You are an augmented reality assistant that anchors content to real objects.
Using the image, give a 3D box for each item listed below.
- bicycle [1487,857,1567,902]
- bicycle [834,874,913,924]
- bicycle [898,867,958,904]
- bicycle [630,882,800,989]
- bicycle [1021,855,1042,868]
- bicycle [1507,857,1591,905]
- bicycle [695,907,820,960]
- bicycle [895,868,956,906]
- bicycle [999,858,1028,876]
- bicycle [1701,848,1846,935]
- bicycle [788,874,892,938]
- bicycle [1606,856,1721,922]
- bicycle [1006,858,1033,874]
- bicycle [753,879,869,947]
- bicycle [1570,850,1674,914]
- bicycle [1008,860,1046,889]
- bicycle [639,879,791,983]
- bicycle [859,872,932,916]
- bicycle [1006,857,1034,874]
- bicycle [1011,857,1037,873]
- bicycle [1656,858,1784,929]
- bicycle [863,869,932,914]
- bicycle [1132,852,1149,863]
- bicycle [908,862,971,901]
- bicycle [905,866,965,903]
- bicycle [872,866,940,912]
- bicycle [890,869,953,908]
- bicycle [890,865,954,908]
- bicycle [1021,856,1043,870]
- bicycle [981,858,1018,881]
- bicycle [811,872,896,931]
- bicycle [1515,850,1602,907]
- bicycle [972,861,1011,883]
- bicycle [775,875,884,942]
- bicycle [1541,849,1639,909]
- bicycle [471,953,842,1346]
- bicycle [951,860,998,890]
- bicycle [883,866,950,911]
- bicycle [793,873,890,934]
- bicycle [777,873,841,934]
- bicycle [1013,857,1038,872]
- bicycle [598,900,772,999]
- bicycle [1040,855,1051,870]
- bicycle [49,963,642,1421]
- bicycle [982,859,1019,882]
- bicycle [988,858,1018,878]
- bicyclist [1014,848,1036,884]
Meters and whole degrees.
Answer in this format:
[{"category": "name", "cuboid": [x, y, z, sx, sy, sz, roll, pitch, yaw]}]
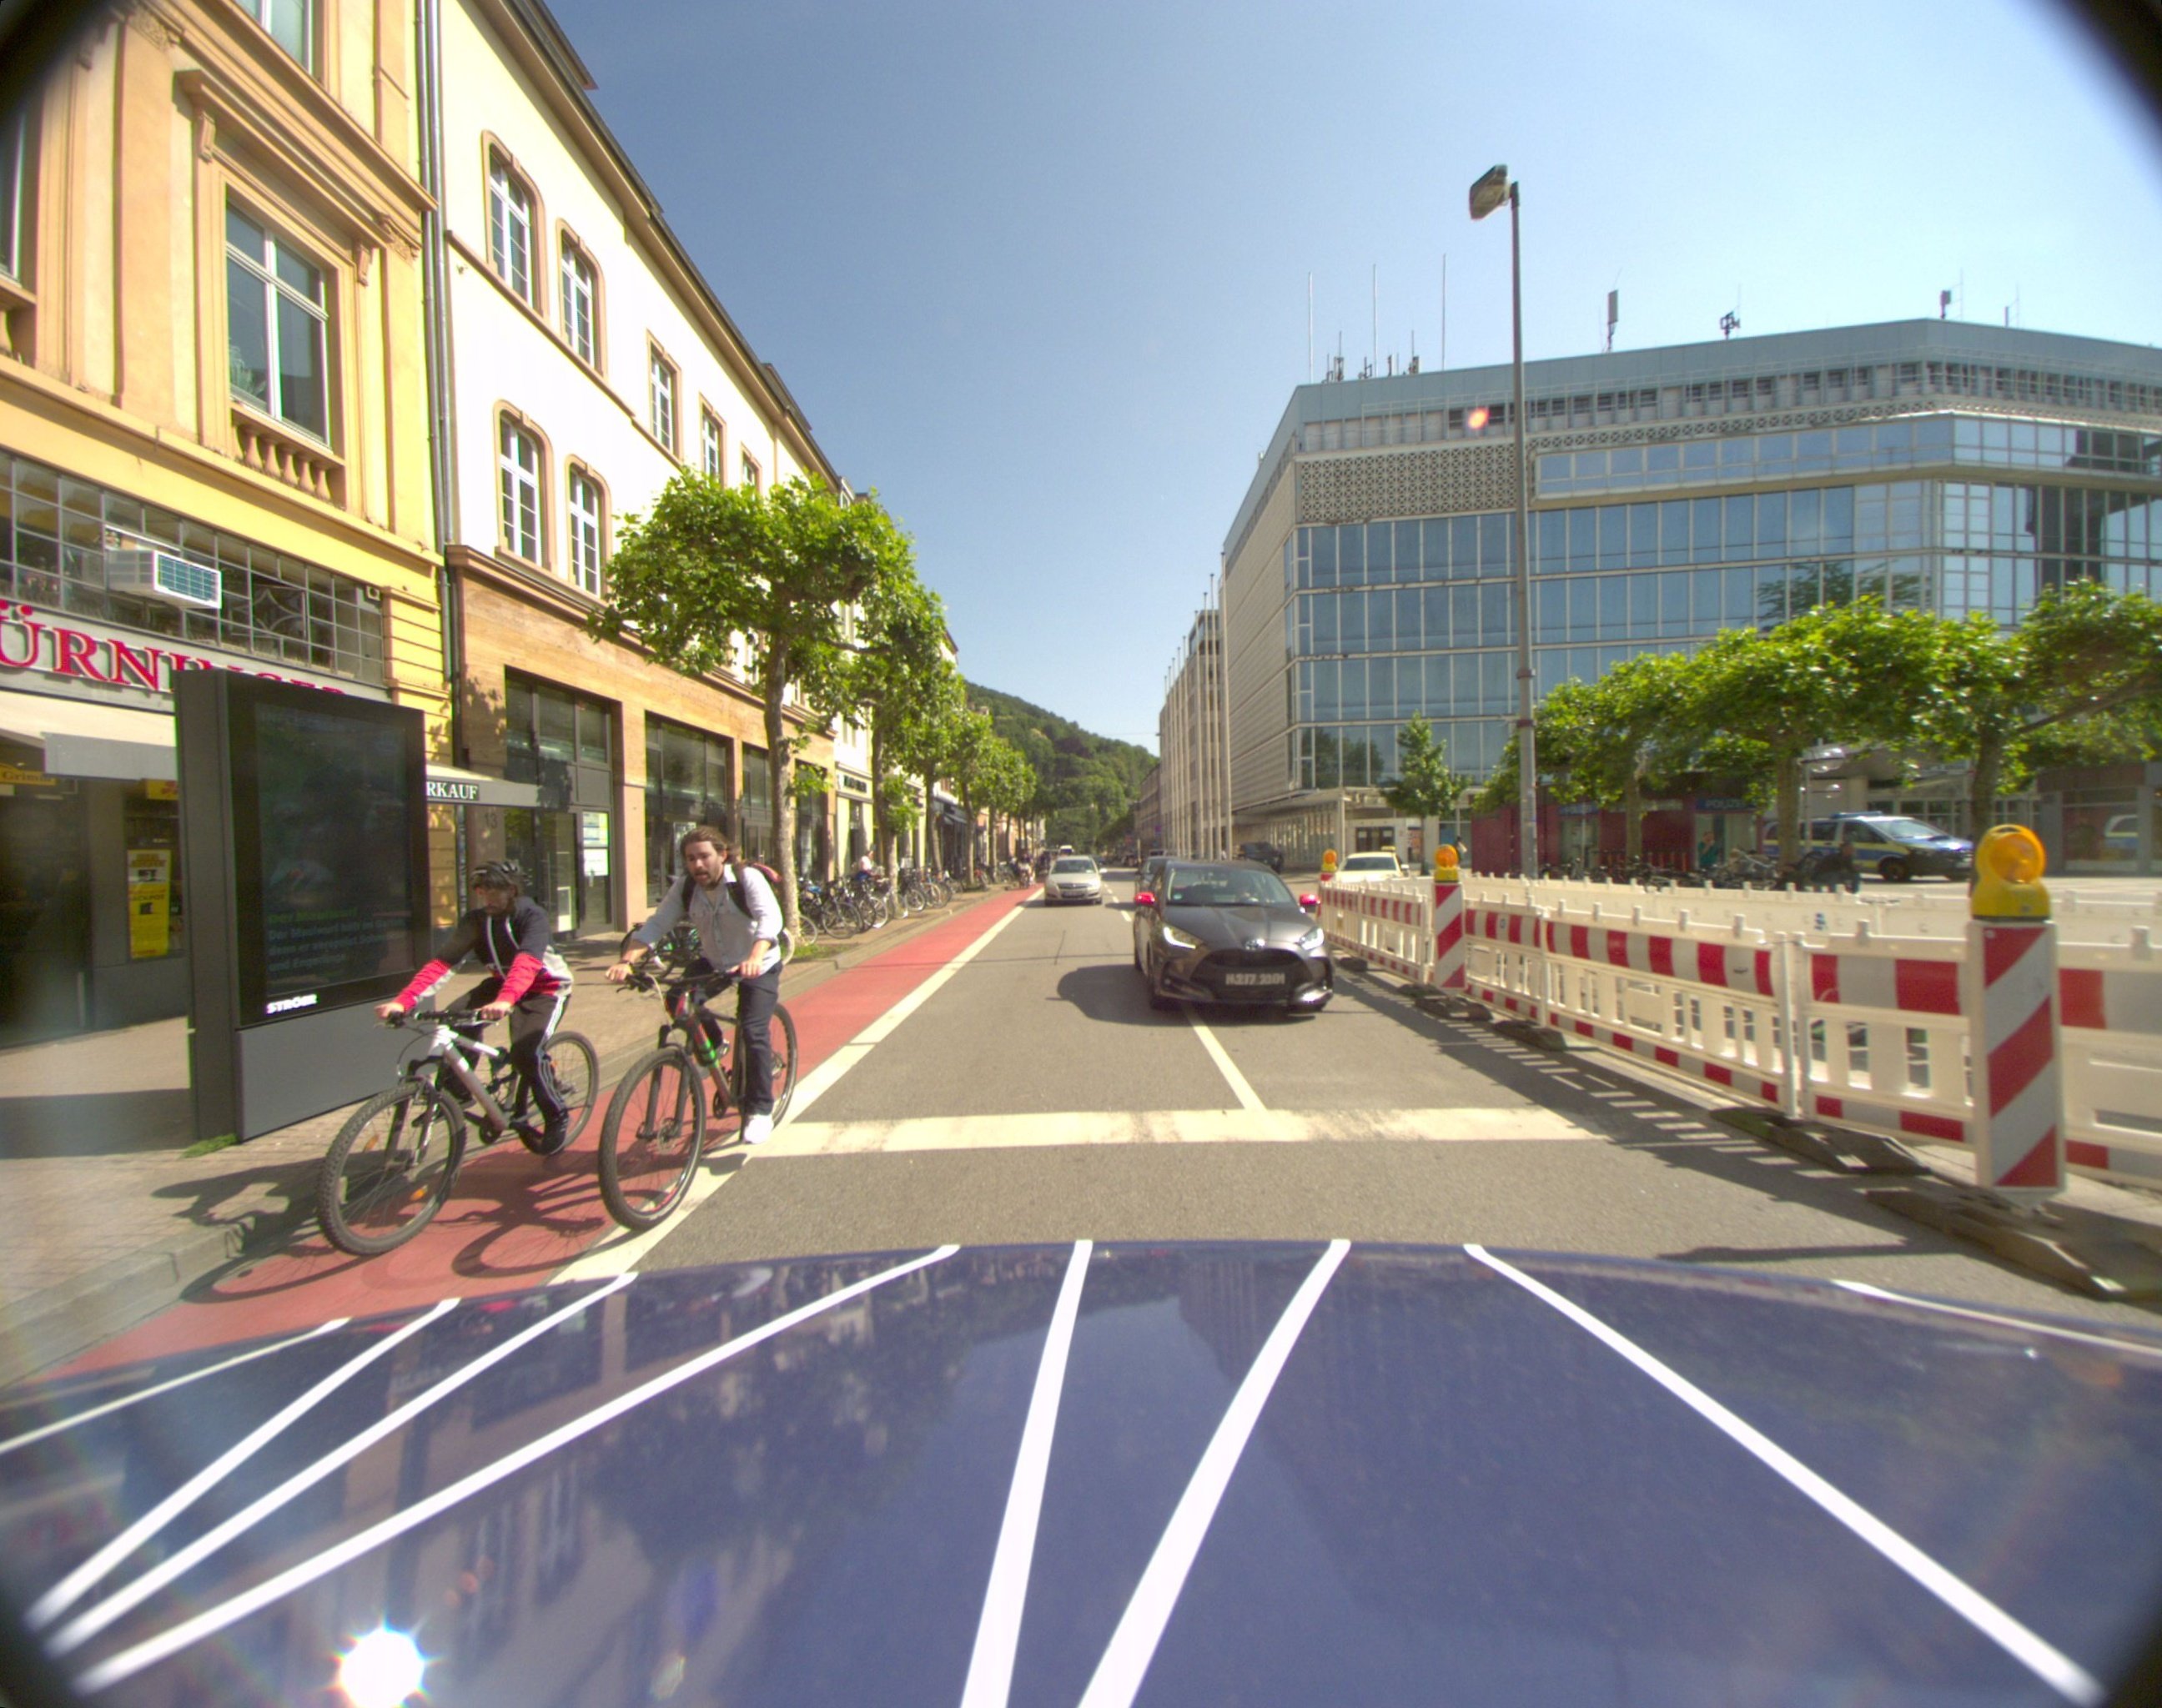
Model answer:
[{"category": "bicycle", "cuboid": [11.636, 0.667, 19.845, 1.786, 1.099, 0.562, -2, 1, -2]}, {"category": "bicycle", "cuboid": [-4.864, 1.057, 17.839, 1.653, 1.088, 0.607, -2, 1, 3]}, {"category": "bicycle", "cuboid": [-4.719, 0.967, 23.455, 1.732, 1.102, 0.402, -2, 1, 3]}, {"category": "bicycle", "cuboid": [-4.826, 1.049, 10.177, 1.940, 1.250, 0.704, -2, 1, -19]}, {"category": "bicycle", "cuboid": [-4.447, 0.697, 68.705, 1.844, 1.120, 0.666, -1, 2, 2]}, {"category": "bicycle", "cuboid": [11.785, 0.670, 19.154, 1.786, 1.125, 0.562, -2, 1, -2]}, {"category": "bicycle", "cuboid": [-5.356, 1.308, 12.687, 1.851, 0.711, 0.658, -2, 1, -20]}, {"category": "bicycle", "cuboid": [-4.697, 0.999, 23.042, 1.732, 1.102, 0.402, -2, 1, 3]}, {"category": "bicycle", "cuboid": [-4.424, 0.851, 49.740, 1.846, 1.120, 0.497, -3, 0, -7]}, {"category": "bicycle", "cuboid": [11.777, 0.614, 12.953, 1.786, 1.340, 0.741, -3, 1, -2]}, {"category": "bicycle", "cuboid": [-4.774, 1.023, 15.096, 1.848, 1.194, 0.545, -2, 1, 3]}, {"category": "bicycle", "cuboid": [11.458, 0.669, 14.977, 1.786, 1.208, 0.663, -2, 1, -2]}, {"category": "bicycle", "cuboid": [-4.445, 0.873, 54.695, 1.846, 1.087, 0.564, -3, 1, -10]}, {"category": "bicycle", "cuboid": [-4.938, 1.068, 13.961, 1.848, 1.157, 0.659, -2, 1, 3]}, {"category": "bicycle", "cuboid": [11.629, 0.594, 16.362, 1.786, 1.301, 0.663, -2, 1, -2]}, {"category": "bicycle", "cuboid": [-2.491, 0.925, 35.315, 0.733, 1.261, 2.286, -2, -1, 23]}, {"category": "bicycle", "cuboid": [-5.130, 1.044, 10.778, 1.828, 1.301, 0.688, -2, 1, -19]}, {"category": "bicycle", "cuboid": [-4.879, 1.045, 20.051, 1.732, 1.088, 0.607, -2, 1, 3]}, {"category": "bicycle", "cuboid": [-4.350, 0.813, 54.194, 1.846, 1.120, 0.632, -4, 2, -10]}, {"category": "bicycle", "cuboid": [-4.225, 0.836, 56.407, 1.844, 1.087, 0.564, -2, 1, 1]}, {"category": "bicycle", "cuboid": [11.483, 0.699, 13.681, 1.786, 1.178, 0.663, -2, 1, -2]}, {"category": "bicycle", "cuboid": [-4.959, 1.012, 20.562, 1.732, 1.155, 0.477, -2, 1, 3]}, {"category": "bicycle", "cuboid": [7.103, 0.430, 90.582, 0.606, 1.166, 2.058, -4, 2, -45]}, {"category": "bicycle", "cuboid": [-4.783, 0.912, 25.789, 1.936, 1.241, 0.736, -2, 1, 3]}, {"category": "bicycle", "cuboid": [-4.660, 0.968, 24.307, 1.732, 1.102, 0.736, -2, 1, 3]}, {"category": "bicycle", "cuboid": [-4.845, 0.976, 21.046, 1.732, 1.210, 0.477, -2, 1, 3]}, {"category": "bicycle", "cuboid": [-4.735, 1.020, 22.623, 1.732, 1.102, 0.477, -2, 1, 3]}, {"category": "bicycle", "cuboid": [-4.656, 0.946, 22.260, 1.732, 1.210, 0.477, -2, 1, 3]}, {"category": "bicycle", "cuboid": [-4.193, 0.749, 65.179, 1.844, 1.120, 0.666, -1, 2, 2]}, {"category": "bicycle", "cuboid": [-4.483, 0.842, 41.715, 1.843, 1.190, 0.674, -2, 1, 8]}, {"category": "bicycle", "cuboid": [-4.873, 1.015, 16.316, 1.653, 1.194, 0.474, -2, 1, 3]}, {"category": "bicycle", "cuboid": [11.665, 0.588, 18.584, 1.786, 1.301, 0.562, -2, 1, -2]}, {"category": "bicycle", "cuboid": [-4.593, 0.920, 38.996, 1.844, 1.091, 0.794, -2, 1, 6]}, {"category": "bicycle", "cuboid": [-4.815, 1.035, 14.590, 1.848, 1.194, 0.608, -2, 1, 3]}, {"category": "bicycle", "cuboid": [11.567, 0.554, 17.295, 1.786, 1.301, 0.663, -2, 1, -2]}, {"category": "bicycle", "cuboid": [-1.832, 1.181, 3.742, 0.700, 1.120, 2.081, -3, -1, -3]}, {"category": "bicycle", "cuboid": [-4.595, 0.914, 32.887, 1.844, 1.179, 0.670, -3, 1, 5]}, {"category": "bicycle", "cuboid": [-4.655, 0.963, 21.535, 1.732, 1.210, 0.477, -2, 1, 3]}, {"category": "bicycle", "cuboid": [-5.005, 1.024, 15.904, 1.848, 1.194, 0.474, -2, 1, 3]}, {"category": "bicycle", "cuboid": [-5.876, 1.046, 16.522, 0.473, 1.181, 1.656, -1, 1, 12]}, {"category": "bicycle", "cuboid": [-4.240, 0.784, 57.761, 1.849, 1.120, 0.592, -2, 2, -35]}, {"category": "bicycle", "cuboid": [-4.809, 1.147, 9.298, 1.786, 1.116, 0.562, -1, 1, -2]}, {"category": "bicycle", "cuboid": [-2.587, 0.605, 55.616, 0.607, 1.120, 1.860, 1, 0, 2]}, {"category": "bicycle", "cuboid": [-2.949, 1.232, 3.479, 0.700, 1.120, 2.080, -3, 1, -3]}, {"category": "bicycle", "cuboid": [-4.325, 0.888, 40.648, 1.843, 1.120, 0.498, -2, 1, 11]}, {"category": "bicycle", "cuboid": [-4.917, 0.860, 48.080, 1.783, 1.190, 0.576, -2, 1, -27]}, {"category": "bicyclist", "cuboid": [-2.593, 0.553, 35.236, 0.731, 1.664, 0.775, 0, 1, 22]}]
